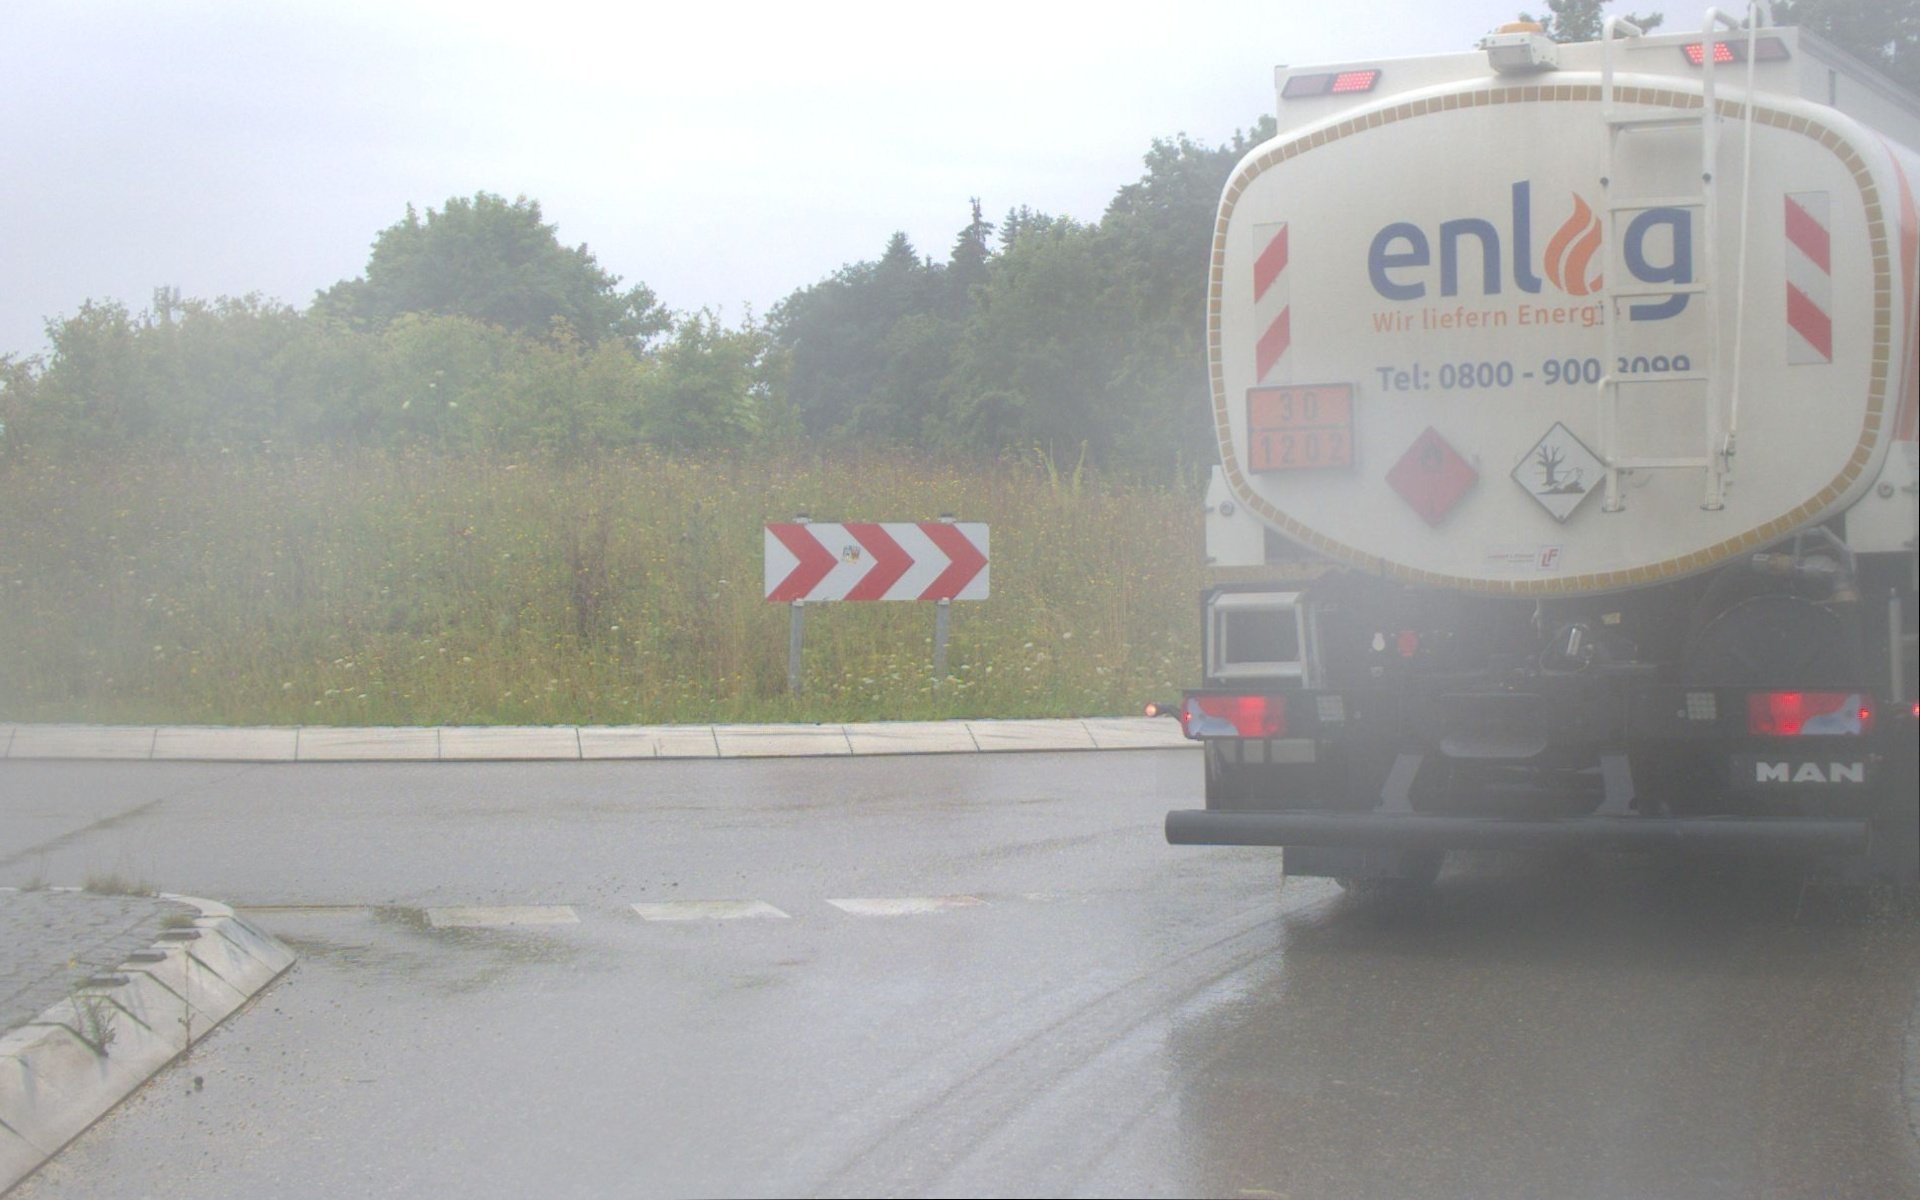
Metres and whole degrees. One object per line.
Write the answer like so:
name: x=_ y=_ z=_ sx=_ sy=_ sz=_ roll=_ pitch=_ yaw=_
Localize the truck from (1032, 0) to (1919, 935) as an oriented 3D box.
truck: x=3.454 y=-0.947 z=15.261 sx=3.043 sy=3.838 sz=8.811 roll=1 pitch=1 yaw=24
